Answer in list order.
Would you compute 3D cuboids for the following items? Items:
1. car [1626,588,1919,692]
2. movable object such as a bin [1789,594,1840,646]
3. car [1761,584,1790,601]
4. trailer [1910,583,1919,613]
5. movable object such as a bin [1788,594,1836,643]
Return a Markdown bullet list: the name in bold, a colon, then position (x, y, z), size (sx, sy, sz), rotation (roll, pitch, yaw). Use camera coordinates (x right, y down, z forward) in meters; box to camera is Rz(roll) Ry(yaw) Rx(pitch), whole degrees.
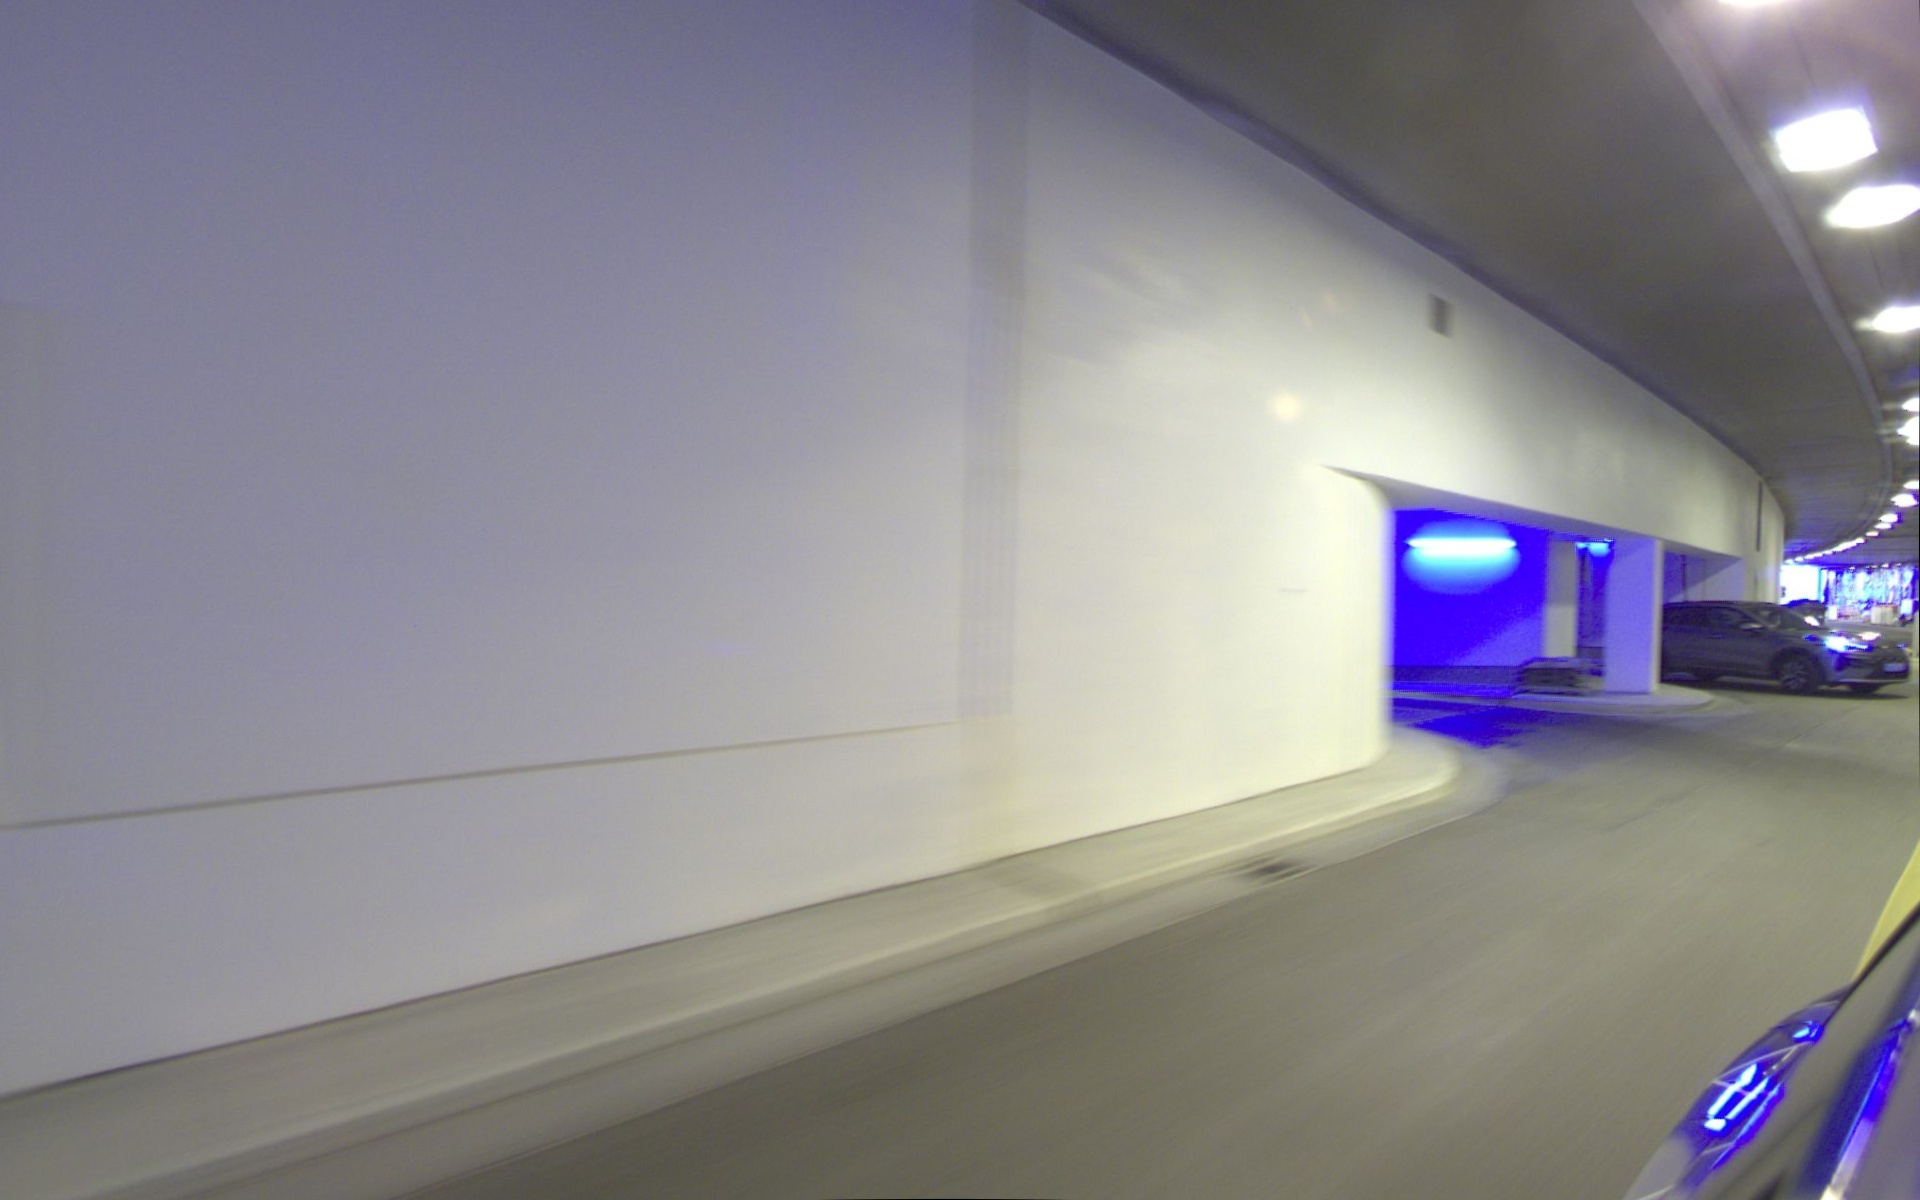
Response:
- **car**: position (14.460, 0.593, 17.943), size (1.858, 1.565, 4.250), rotation (0, 1, -16)
- **movable object such as a bin**: position (25.374, 0.569, 30.068), size (1.144, 1.463, 1.344), rotation (0, 1, 41)
- **car**: position (84.937, -0.783, 105.439), size (1.986, 1.775, 3.953), rotation (0, 1, 33)
- **trailer**: position (59.824, -0.127, 62.068), size (1.632, 1.813, 3.088), rotation (0, 1, 32)
- **movable object such as a bin**: position (26.220, 0.554, 31.155), size (1.096, 1.463, 1.303), rotation (0, 1, 41)
